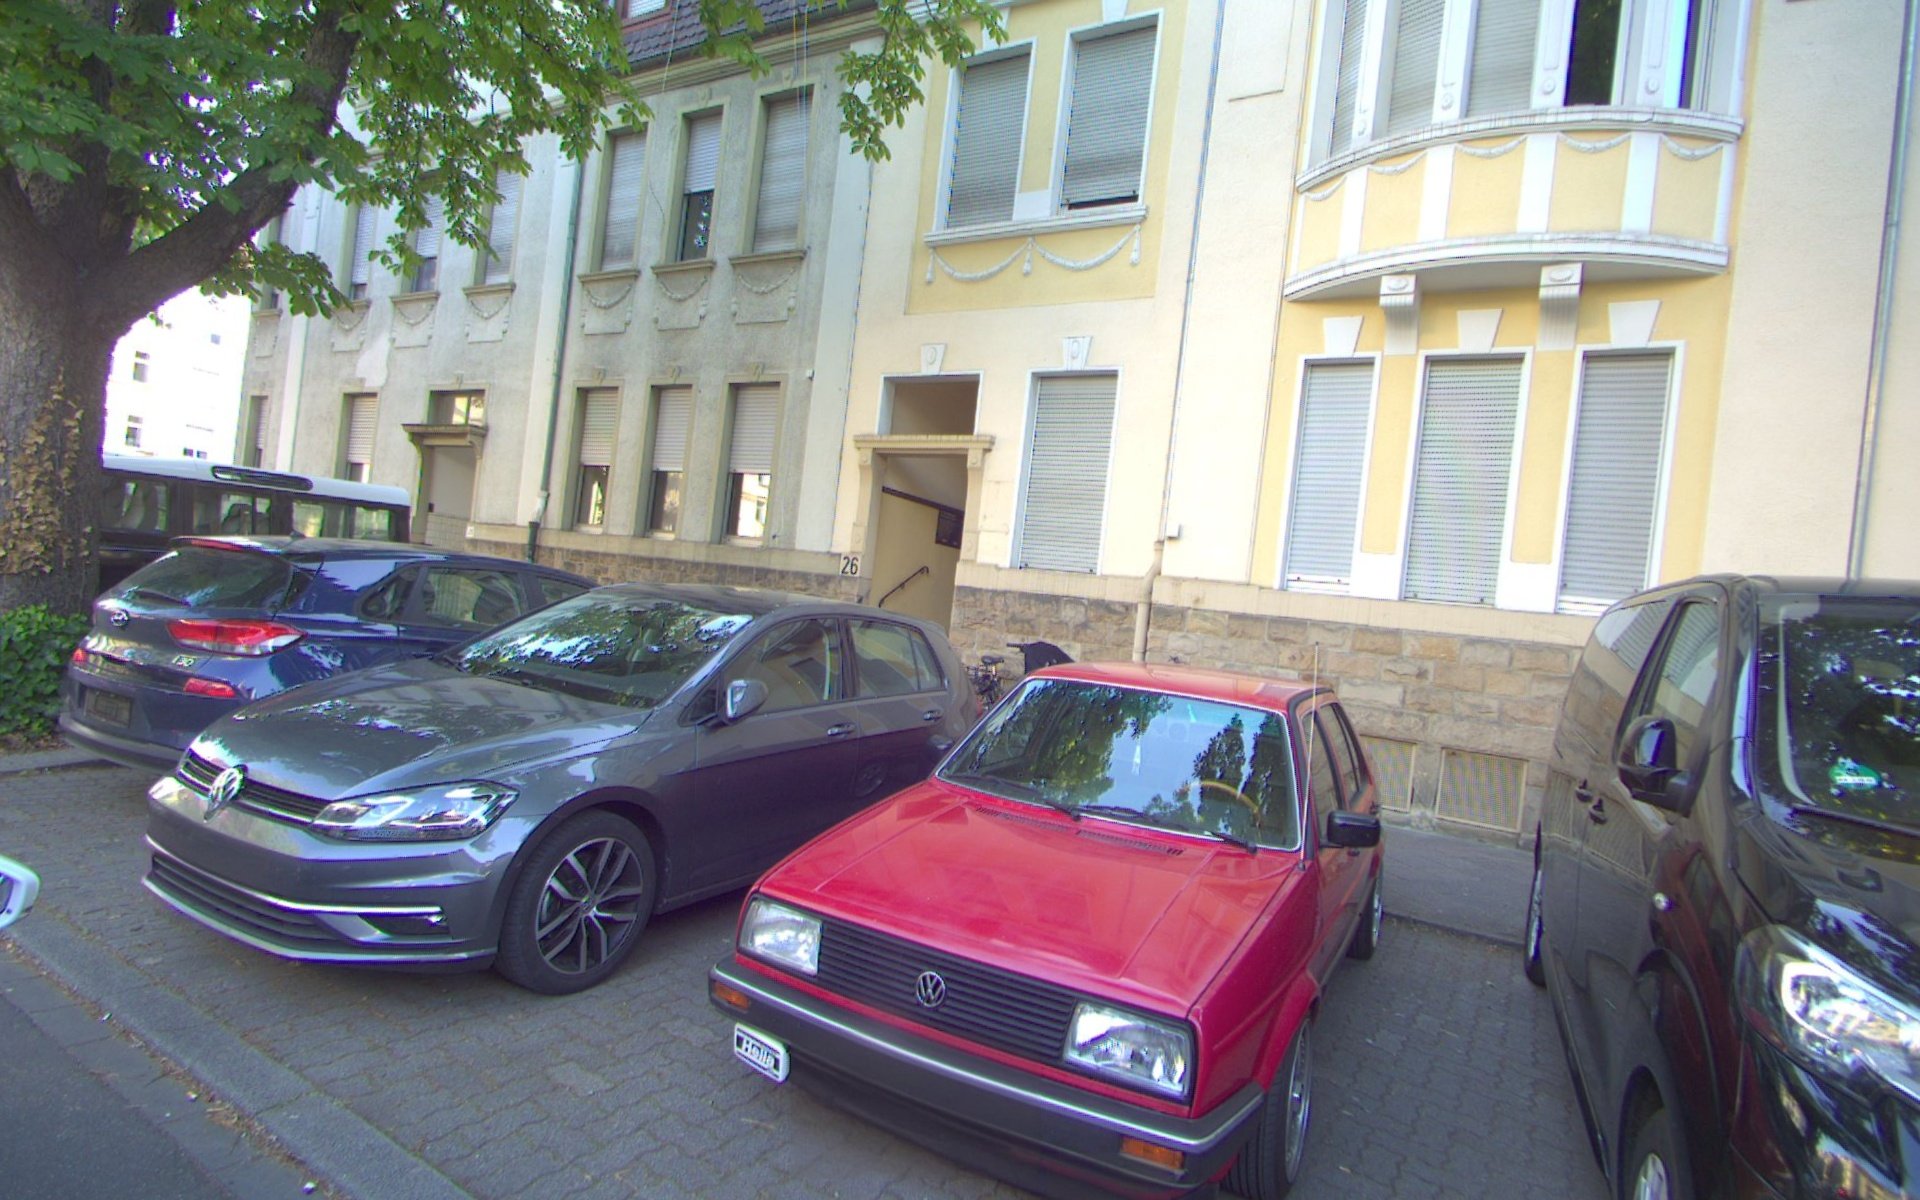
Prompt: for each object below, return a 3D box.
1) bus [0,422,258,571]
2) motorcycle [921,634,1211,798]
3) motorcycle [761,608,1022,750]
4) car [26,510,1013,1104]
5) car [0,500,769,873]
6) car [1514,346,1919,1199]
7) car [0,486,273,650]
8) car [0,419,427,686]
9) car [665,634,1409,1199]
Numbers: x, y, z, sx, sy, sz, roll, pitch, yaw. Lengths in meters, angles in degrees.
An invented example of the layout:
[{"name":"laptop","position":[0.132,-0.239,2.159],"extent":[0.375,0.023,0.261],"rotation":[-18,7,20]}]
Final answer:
[{"name":"bus","position":[-25.028,-2.941,28.269],"extent":[2.859,3.240,8.199],"rotation":[7,-1,24]},{"name":"motorcycle","position":[0.952,1.006,9.394],"extent":[2.439,1.087,0.959],"rotation":[7,2,32]},{"name":"motorcycle","position":[-0.794,0.786,10.784],"extent":[2.822,1.087,0.694],"rotation":[7,2,31]},{"name":"car","position":[-1.436,0.627,4.816],"extent":[1.693,1.470,4.060],"rotation":[6,0,28]},{"name":"car","position":[-3.089,0.431,6.198],"extent":[1.679,1.470,3.730],"rotation":[6,0,28]},{"name":"car","position":[2.849,0.875,2.876],"extent":[1.864,1.898,4.759],"rotation":[6,0,27]},{"name":"car","position":[-9.991,-0.379,10.937],"extent":[1.679,1.589,3.730],"rotation":[6,0,28]},{"name":"car","position":[-7.596,-0.362,9.236],"extent":[1.671,2.061,4.473],"rotation":[6,0,28]},{"name":"car","position":[0.872,0.952,4.303],"extent":[1.601,1.332,4.144],"rotation":[6,0,27]}]
